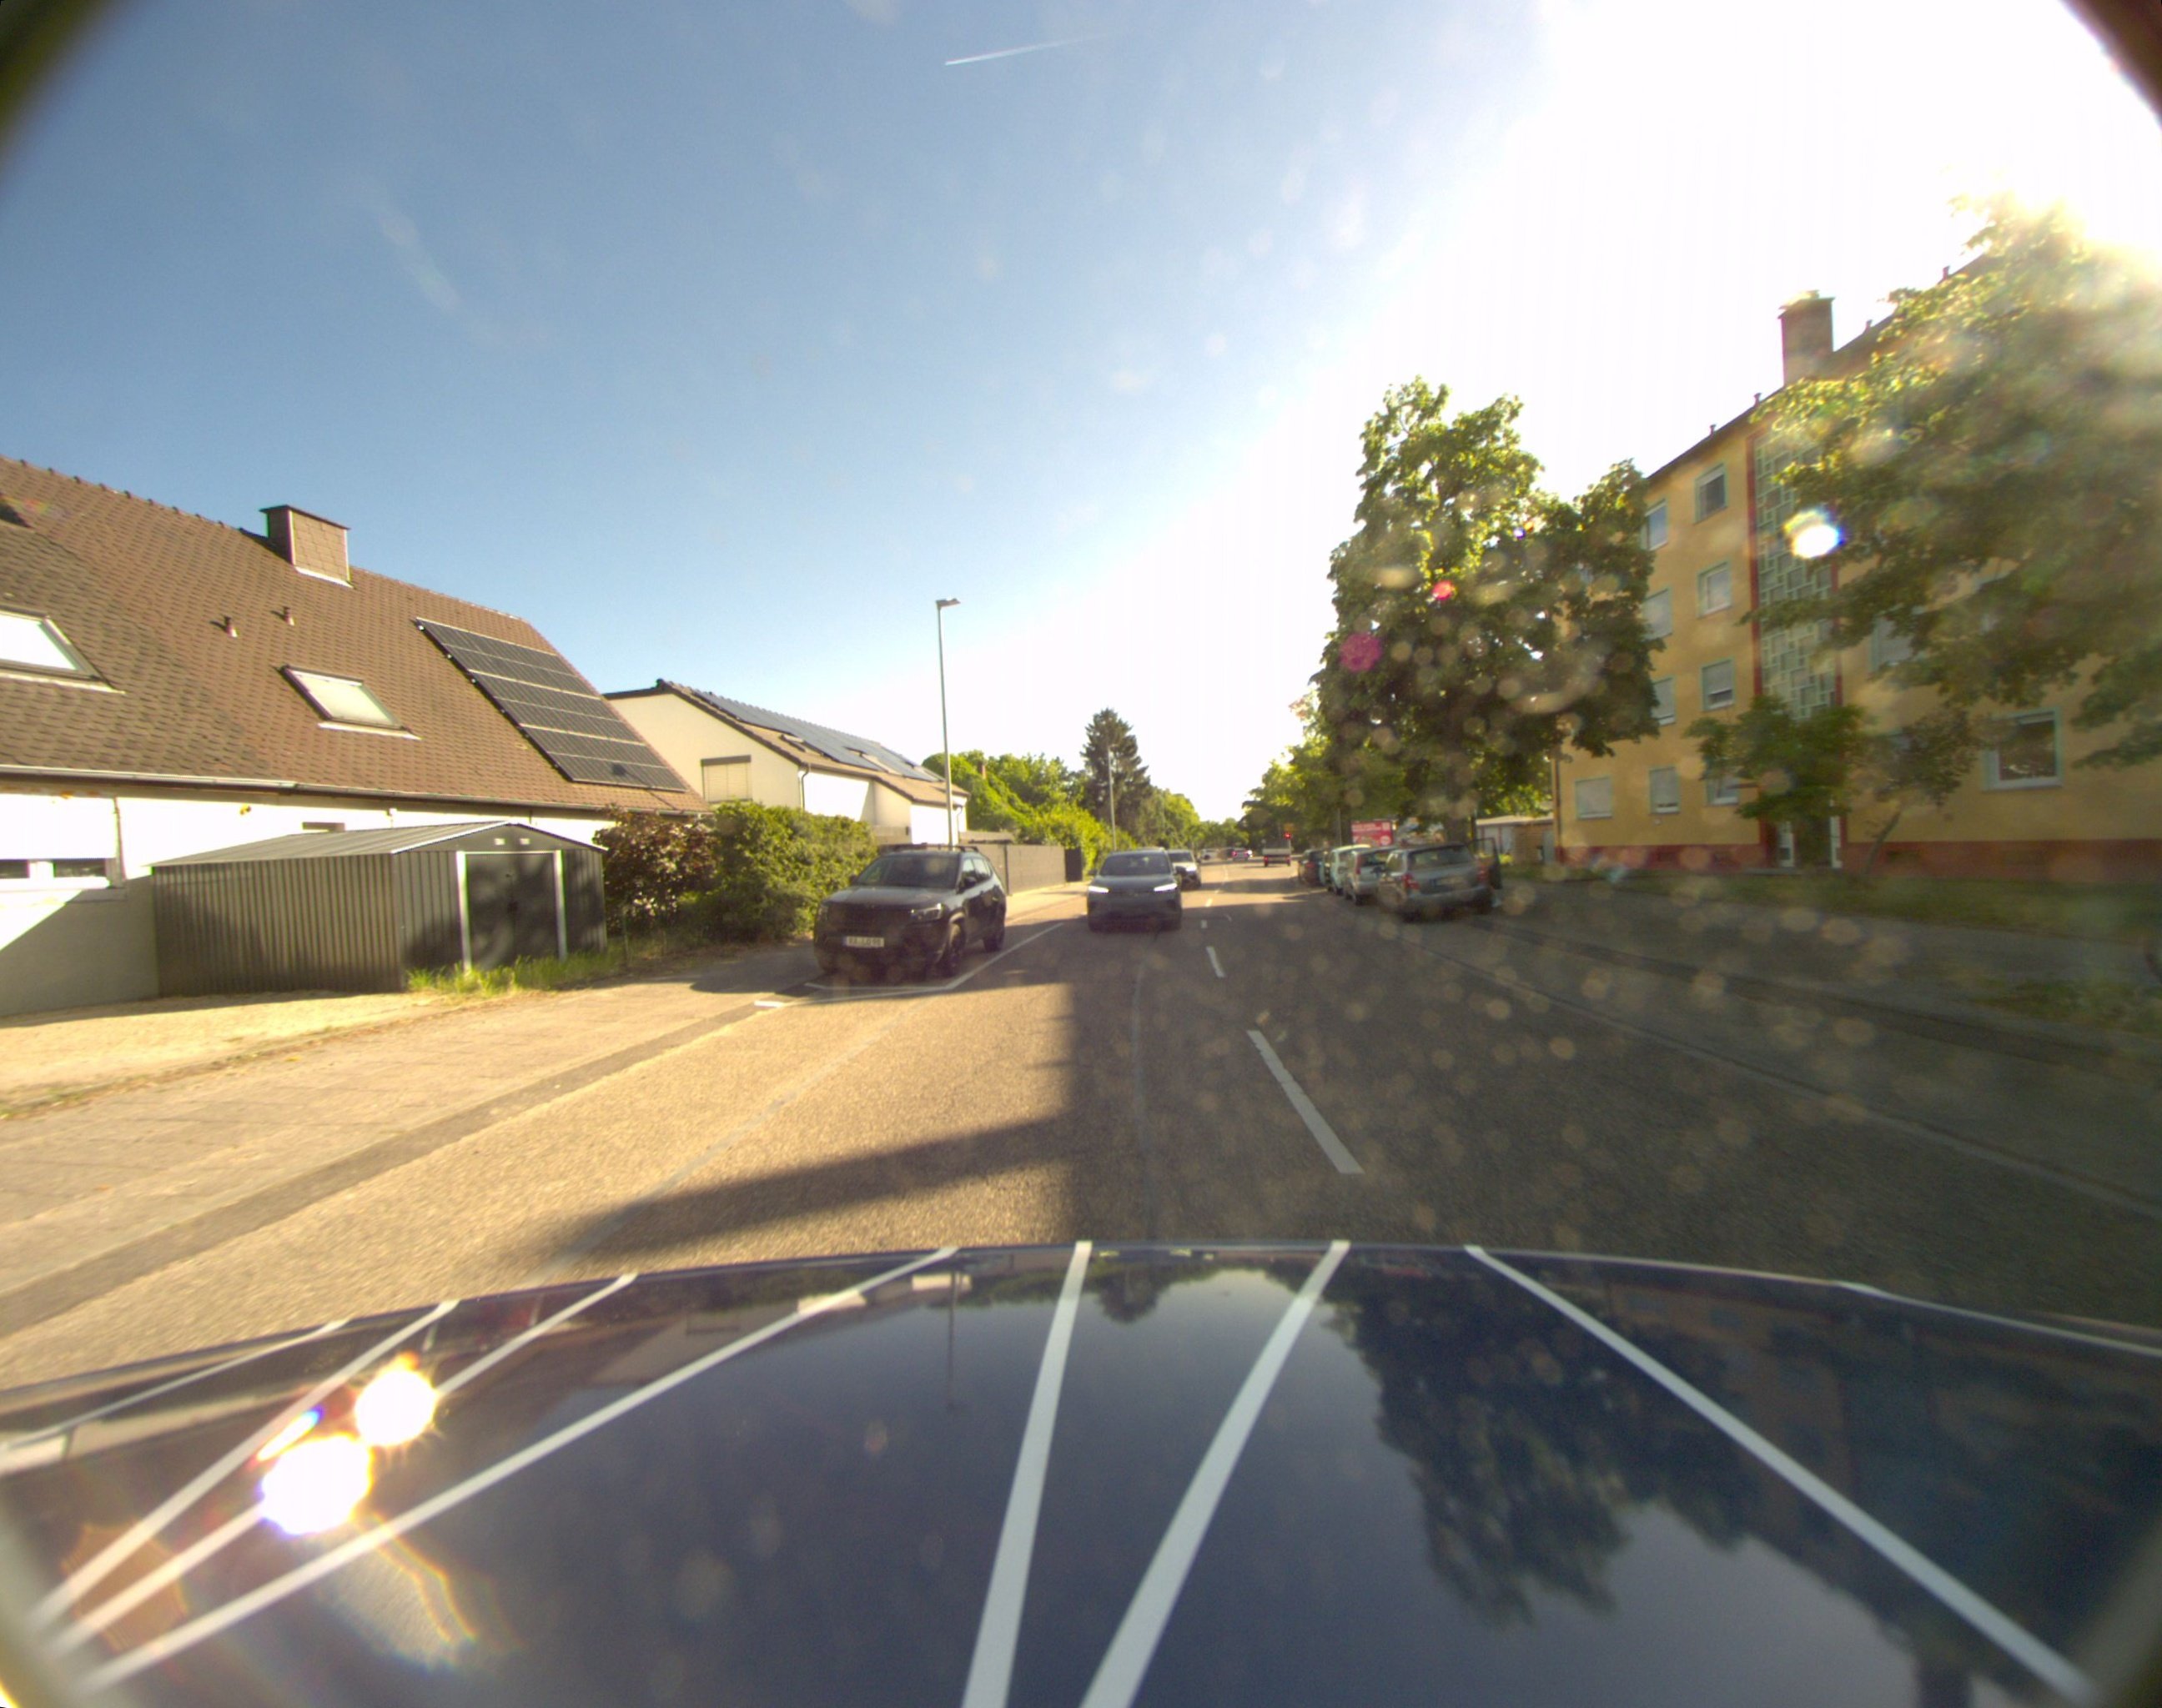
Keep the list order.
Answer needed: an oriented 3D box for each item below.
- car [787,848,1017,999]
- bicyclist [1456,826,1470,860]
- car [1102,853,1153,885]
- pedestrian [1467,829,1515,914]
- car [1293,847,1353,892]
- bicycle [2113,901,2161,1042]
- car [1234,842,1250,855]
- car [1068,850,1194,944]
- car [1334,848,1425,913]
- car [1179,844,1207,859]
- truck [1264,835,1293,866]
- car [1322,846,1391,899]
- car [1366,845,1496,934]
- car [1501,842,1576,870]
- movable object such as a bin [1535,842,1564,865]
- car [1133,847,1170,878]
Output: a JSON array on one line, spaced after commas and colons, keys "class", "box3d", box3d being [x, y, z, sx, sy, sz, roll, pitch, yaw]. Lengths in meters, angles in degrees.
[{"class": "car", "box3d": [-2.314, 0.823, 11.111, 1.781, 1.714, 4.296, -2, 1, 8]}, {"class": "bicyclist", "box3d": [19.331, -0.545, 38.449, 0.390, 1.675, 0.381, -3, 0, -20]}, {"class": "car", "box3d": [2.369, 0.707, 37.705, 1.768, 1.471, 4.996, -1, 0, 12]}, {"class": "pedestrian", "box3d": [8.522, 0.344, 15.810, 0.686, 1.709, 0.721, -2, 3, 11]}, {"class": "car", "box3d": [9.723, 0.565, 30.806, 1.704, 1.472, 4.054, -4, 2, 10]}, {"class": "bicycle", "box3d": [7.606, 0.835, 4.634, 0.368, 0.963, 1.886, -2, 0, 11]}, {"class": "car", "box3d": [19.830, -0.687, 93.794, 1.840, 1.480, 4.893, -2, 0, 11]}, {"class": "car", "box3d": [1.244, 0.822, 16.545, 1.991, 1.631, 4.368, -3, 1, 13]}, {"class": "car", "box3d": [8.034, 0.653, 20.787, 1.660, 1.501, 4.003, -3, 0, 13]}, {"class": "car", "box3d": [16.949, -0.395, 115.201, 3.995, 2.002, 2.001, -3, 0, 6]}, {"class": "truck", "box3d": [16.017, -0.325, 61.879, 2.132, 2.321, 6.448, -1, 1, 14]}, {"class": "car", "box3d": [9.193, 0.558, 25.659, 1.703, 1.514, 4.055, -1, 2, 13]}, {"class": "car", "box3d": [7.242, 0.665, 16.104, 1.570, 1.521, 3.922, -6, -1, 12]}, {"class": "car", "box3d": [25.527, 0.139, 42.547, 1.733, 1.455, 3.881, -2, 0, -2]}, {"class": "movable object such as a bin", "box3d": [19.171, -0.025, 31.099, 0.698, 0.905, 0.746, -2, 0, 3]}, {"class": "car", "box3d": [4.692, 0.525, 50.081, 1.840, 1.896, 4.701, -3, 0, 12]}]
